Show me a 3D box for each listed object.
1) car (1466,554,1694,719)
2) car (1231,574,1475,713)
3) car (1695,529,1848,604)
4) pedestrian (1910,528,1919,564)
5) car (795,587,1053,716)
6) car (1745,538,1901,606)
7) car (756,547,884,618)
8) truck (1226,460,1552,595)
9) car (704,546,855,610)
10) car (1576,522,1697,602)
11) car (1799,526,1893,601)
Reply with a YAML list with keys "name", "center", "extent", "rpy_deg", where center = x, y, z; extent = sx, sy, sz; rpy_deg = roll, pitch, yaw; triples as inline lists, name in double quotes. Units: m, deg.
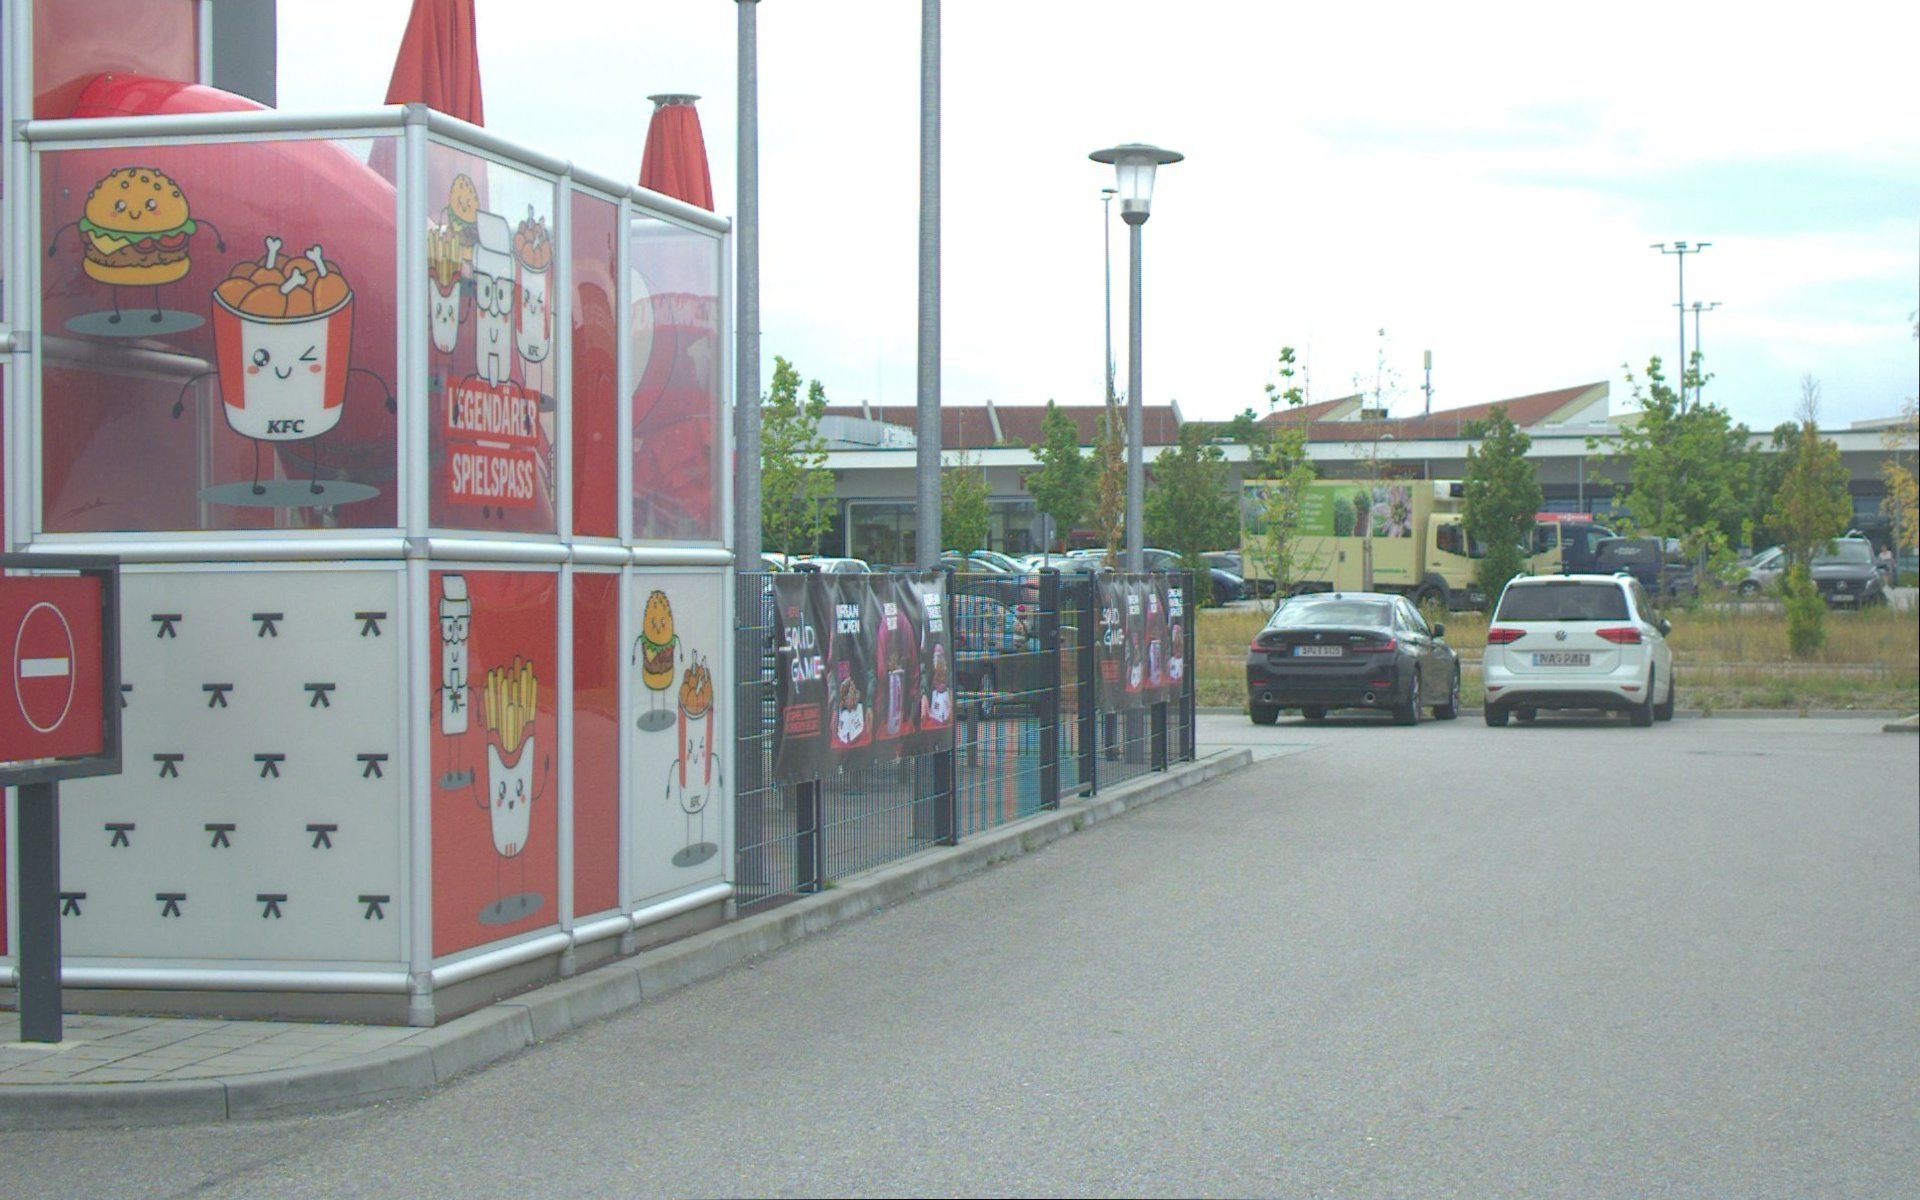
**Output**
- name: "car"
  center: [6.909, 0.417, 37.958]
  extent: [1.987, 1.707, 4.369]
  rpy_deg: [0, -1, 17]
- name: "car"
  center: [4.489, 0.498, 38.686]
  extent: [1.943, 1.461, 4.512]
  rpy_deg: [0, -1, 17]
- name: "car"
  center: [22.789, -0.952, 96.607]
  extent: [3.988, 2.006, 2.000]
  rpy_deg: [-1, 2, 8]
- name: "pedestrian"
  center: [38.699, -2.164, 138.148]
  extent: [0.650, 1.424, 0.799]
  rpy_deg: [-2, 2, -22]
- name: "car"
  center: [-0.361, 0.606, 40.199]
  extent: [1.884, 1.407, 4.067]
  rpy_deg: [0, -1, 17]
- name: "car"
  center: [23.112, -0.743, 92.109]
  extent: [3.989, 1.732, 1.890]
  rpy_deg: [0, 2, 15]
- name: "car"
  center: [-3.762, -0.491, 93.179]
  extent: [1.995, 1.765, 4.317]
  rpy_deg: [0, 2, 20]
- name: "truck"
  center: [10.597, -1.827, 85.822]
  extent: [3.020, 3.185, 8.430]
  rpy_deg: [-2, 2, -37]
- name: "car"
  center: [-5.229, -0.649, 99.555]
  extent: [3.995, 1.765, 1.996]
  rpy_deg: [1, 2, 37]
- name: "car"
  center: [16.446, -0.913, 83.415]
  extent: [2.073, 1.878, 5.065]
  rpy_deg: [0, 1, 20]
- name: "car"
  center: [20.932, -0.882, 81.169]
  extent: [2.072, 1.633, 5.067]
  rpy_deg: [0, 2, 15]
